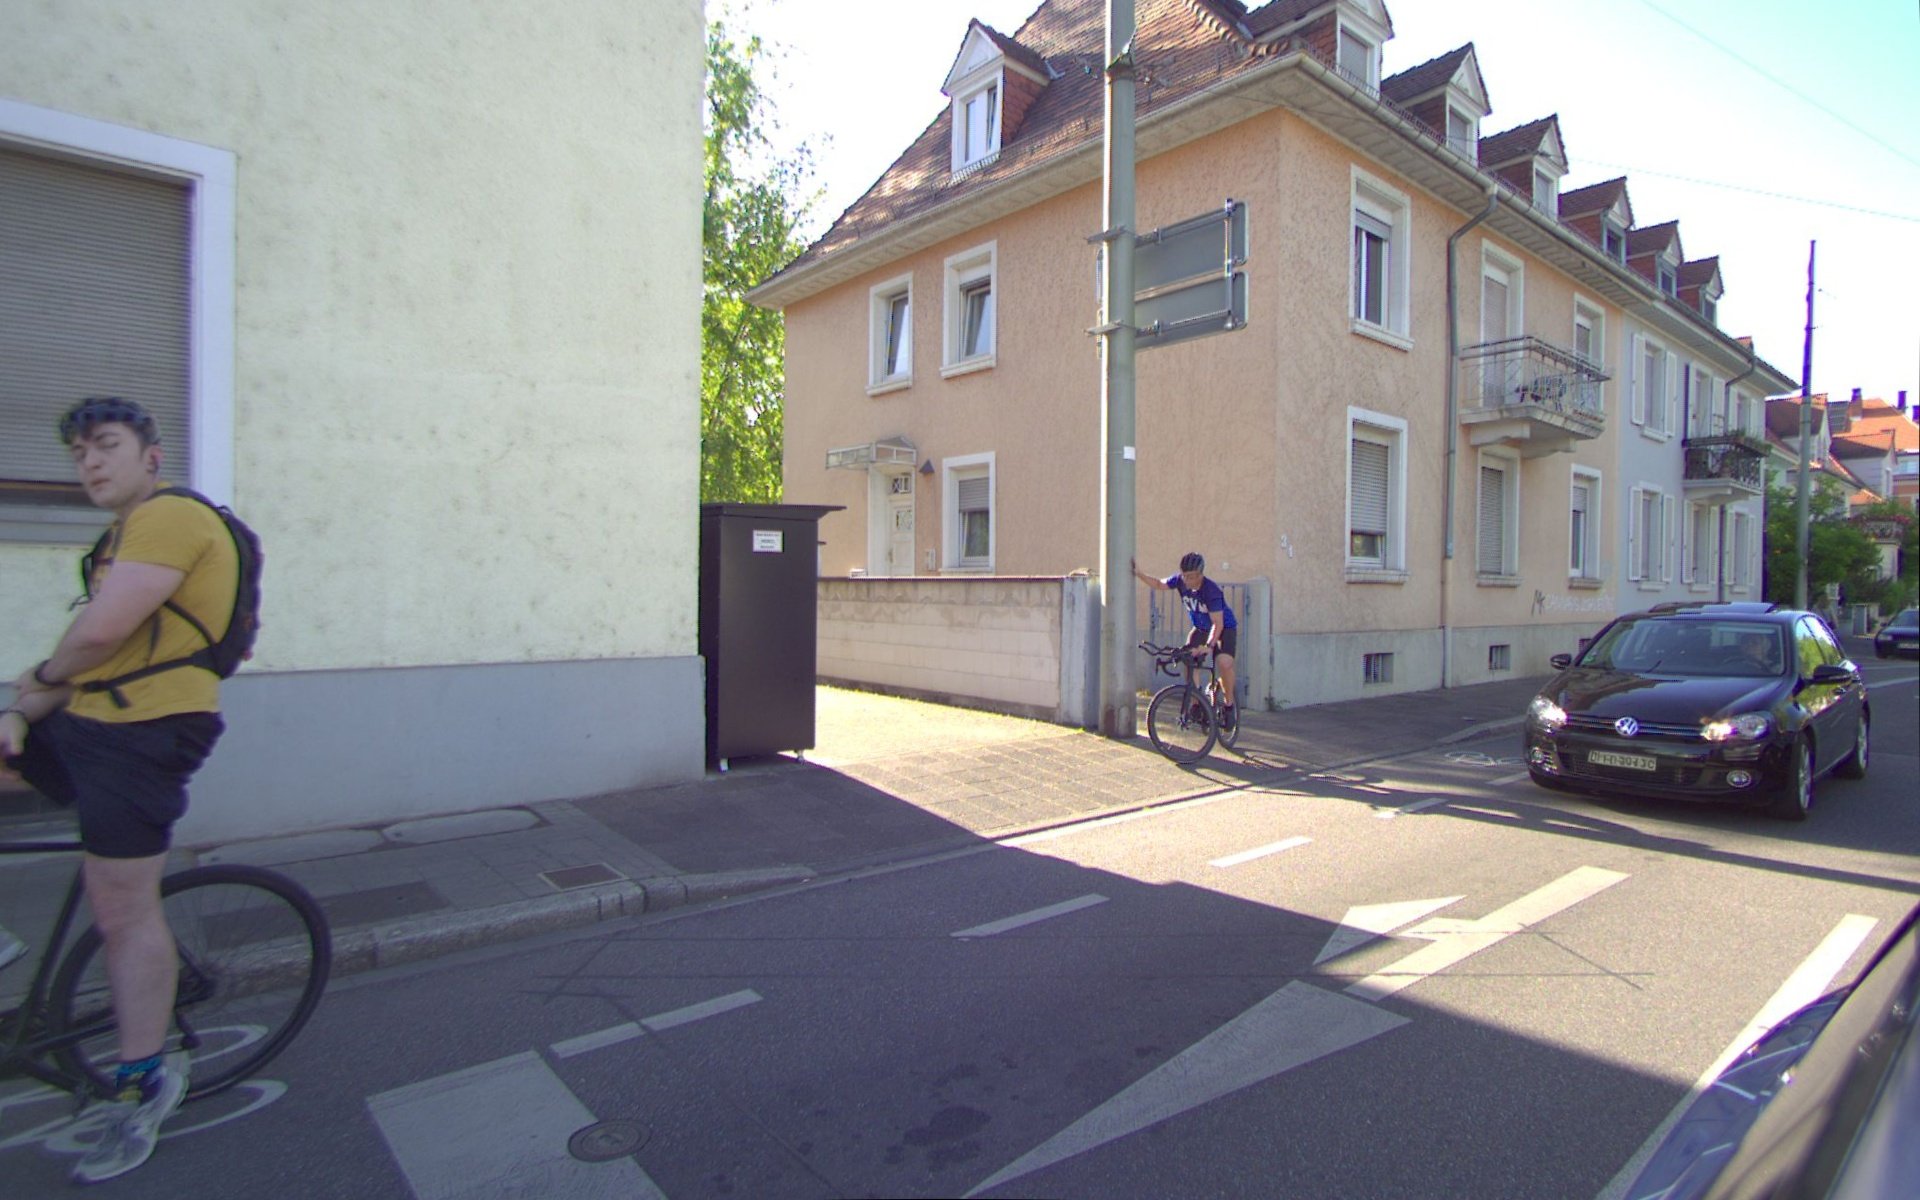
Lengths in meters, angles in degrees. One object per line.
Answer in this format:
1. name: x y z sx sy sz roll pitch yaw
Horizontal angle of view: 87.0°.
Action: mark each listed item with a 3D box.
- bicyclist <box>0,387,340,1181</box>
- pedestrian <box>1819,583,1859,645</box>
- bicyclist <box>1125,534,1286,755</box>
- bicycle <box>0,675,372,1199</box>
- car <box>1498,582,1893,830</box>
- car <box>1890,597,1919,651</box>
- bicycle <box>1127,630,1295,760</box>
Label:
1. bicyclist: -2.308 0.421 2.702 1.018 1.840 0.653 0 1 -41
2. pedestrian: 24.239 0.373 27.913 1.079 1.682 0.694 0 0 -41
3. bicyclist: 2.276 0.361 9.436 0.831 1.887 1.076 0 4 -40
4. bicycle: -2.484 0.844 2.537 1.669 1.180 0.572 0 1 -41
5. car: 6.180 0.646 8.330 4.030 1.541 1.761 0 1 -41
6. car: 26.689 0.629 27.348 3.796 1.382 1.648 0 1 -38
7. bicycle: 2.309 0.818 9.211 1.669 1.003 0.572 0 4 -41
